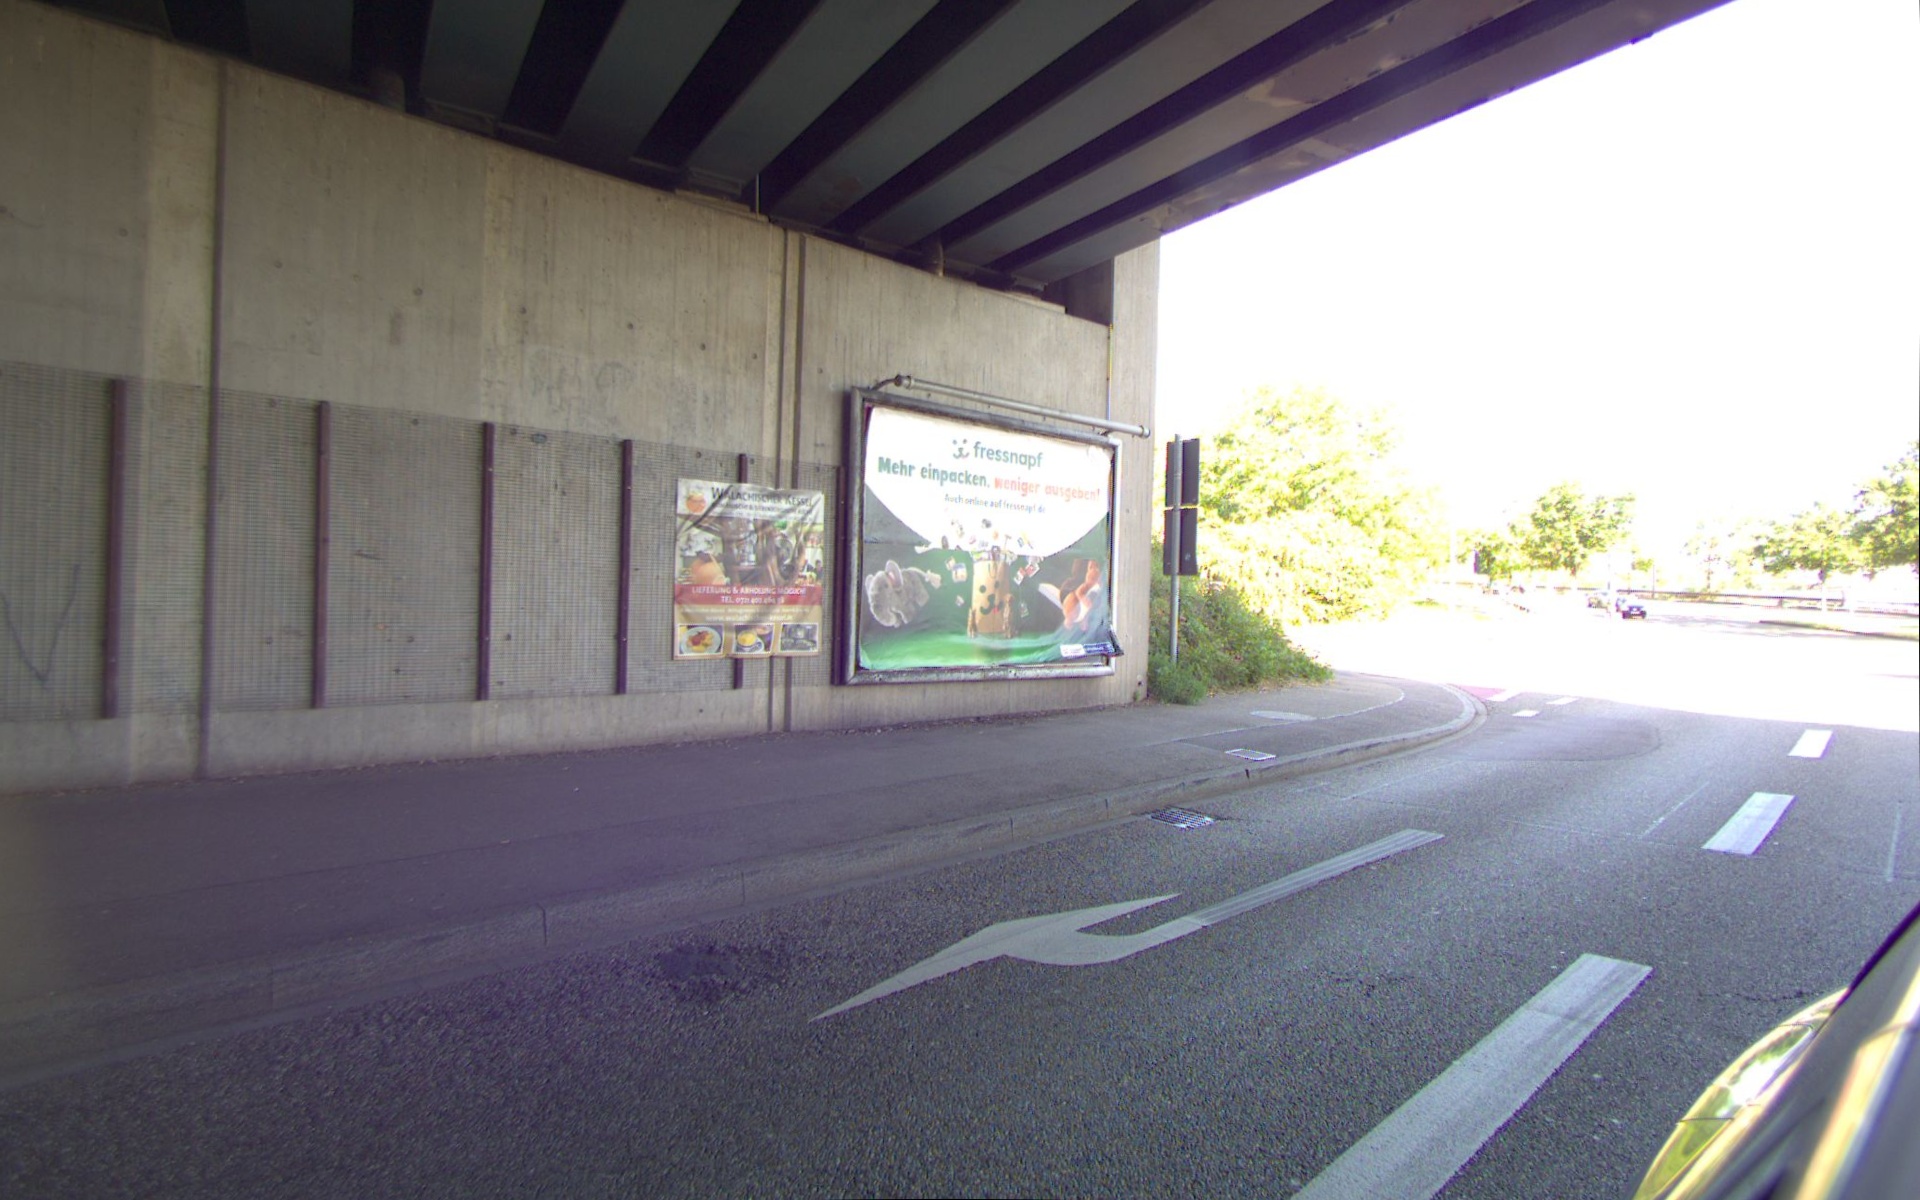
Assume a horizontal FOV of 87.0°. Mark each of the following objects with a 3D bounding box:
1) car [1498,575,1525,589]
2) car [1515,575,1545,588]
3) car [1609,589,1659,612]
[{"bbox_3d":[60.766,-1.968,111.641,1.832,1.498,4.206,0,1,17],"label":"car"},{"bbox_3d":[65.031,-2.091,115.539,1.721,1.297,4.168,3,2,12],"label":"car"},{"bbox_3d":[44.668,0.052,67.123,1.717,1.438,4.290,2,0,19],"label":"car"}]
